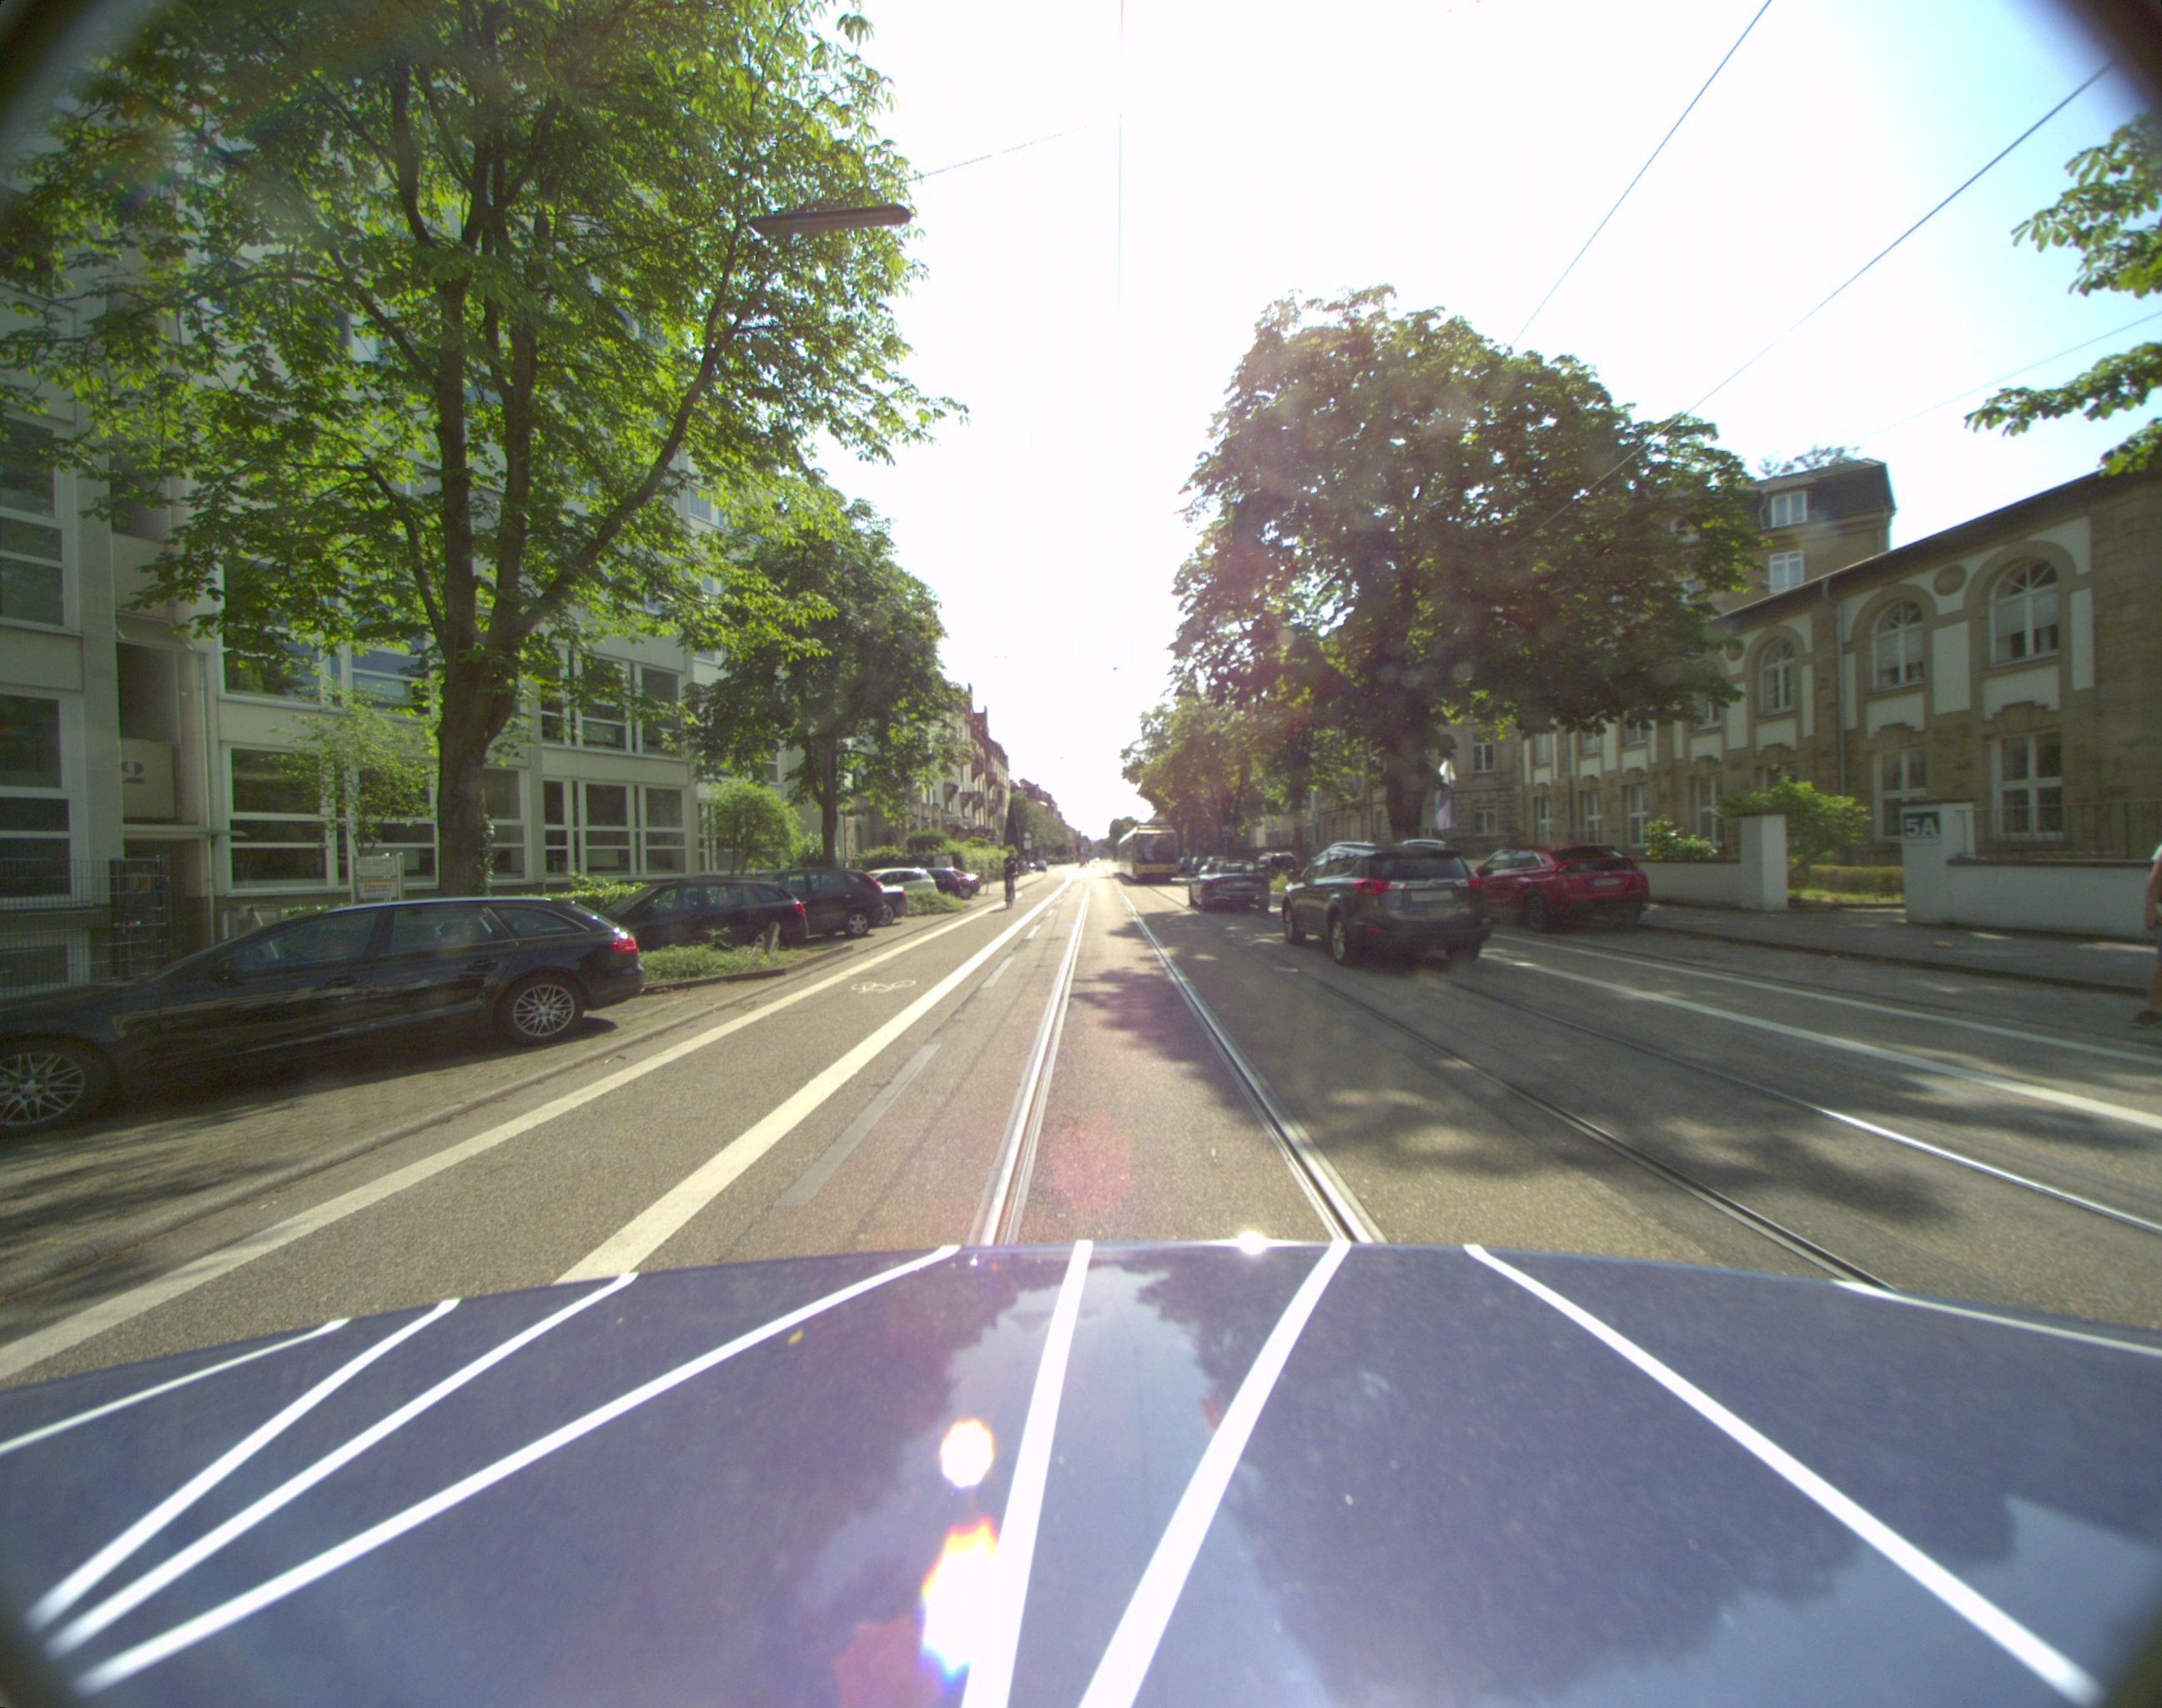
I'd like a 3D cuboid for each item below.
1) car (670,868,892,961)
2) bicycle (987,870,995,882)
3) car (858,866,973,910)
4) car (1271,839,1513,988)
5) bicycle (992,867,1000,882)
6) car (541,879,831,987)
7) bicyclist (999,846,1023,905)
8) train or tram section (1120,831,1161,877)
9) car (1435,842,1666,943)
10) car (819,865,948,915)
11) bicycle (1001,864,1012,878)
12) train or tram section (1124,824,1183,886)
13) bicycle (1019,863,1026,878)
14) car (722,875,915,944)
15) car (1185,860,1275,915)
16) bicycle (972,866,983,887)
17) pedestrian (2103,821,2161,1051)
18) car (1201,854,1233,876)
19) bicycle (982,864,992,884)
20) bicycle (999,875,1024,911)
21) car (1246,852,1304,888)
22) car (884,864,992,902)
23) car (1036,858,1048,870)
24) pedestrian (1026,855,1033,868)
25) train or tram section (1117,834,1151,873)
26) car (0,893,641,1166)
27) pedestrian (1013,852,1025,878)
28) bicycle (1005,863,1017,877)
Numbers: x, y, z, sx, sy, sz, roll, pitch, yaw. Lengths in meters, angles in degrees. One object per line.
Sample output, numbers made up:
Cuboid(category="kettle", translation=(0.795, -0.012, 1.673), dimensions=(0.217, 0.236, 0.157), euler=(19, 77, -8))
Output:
Cuboid(category="car", translation=(-6.428, 1.216, 16.499), dimensions=(4.007, 1.565, 1.900), euler=(-3, 0, -41))
Cuboid(category="bicycle", translation=(-5.670, 1.378, 47.899), dimensions=(0.280, 0.673, 1.559), euler=(2, 1, 1))
Cuboid(category="car", translation=(-6.392, 1.288, 29.545), dimensions=(4.007, 1.440, 1.695), euler=(-2, 0, -41))
Cuboid(category="car", translation=(4.273, 0.711, 11.303), dimensions=(1.830, 1.717, 4.391), euler=(-2, 0, 1))
Cuboid(category="bicycle", translation=(-5.562, 1.349, 49.911), dimensions=(0.274, 0.902, 1.668), euler=(-2, 0, 1))
Cuboid(category="car", translation=(-6.680, 1.245, 13.131), dimensions=(4.084, 1.434, 1.722), euler=(-1, -2, -43))
Cuboid(category="bicyclist", translation=(-2.375, 0.712, 25.948), dimensions=(0.608, 1.937, 1.130), euler=(-3, 1, 1))
Cuboid(category="train or tram section", translation=(4.634, -0.047, 61.112), dimensions=(2.659, 3.369, 11.473), euler=(0, 0, 1))
Cuboid(category="car", translation=(9.263, 0.651, 15.568), dimensions=(1.755, 1.656, 4.720), euler=(-3, 0, 0))
Cuboid(category="car", translation=(-6.739, 1.197, 26.160), dimensions=(4.008, 1.452, 1.531), euler=(-2, 0, -44))
Cuboid(category="bicycle", translation=(-5.386, 1.209, 54.808), dimensions=(0.614, 0.983, 1.872), euler=(1, 1, 1))
Cuboid(category="train or tram section", translation=(4.353, -0.001, 48.363), dimensions=(2.659, 3.336, 14.108), euler=(0, 0, 1))
Cuboid(category="bicycle", translation=(-5.243, 1.469, 68.182), dimensions=(0.452, 1.253, 1.844), euler=(1, 0, -2))
Cuboid(category="car", translation=(-6.615, 1.331, 19.442), dimensions=(4.183, 1.341, 1.900), euler=(-3, 0, -44))
Cuboid(category="car", translation=(4.220, 0.888, 22.185), dimensions=(1.803, 1.380, 4.426), euler=(-1, 0, 1))
Cuboid(category="bicycle", translation=(-5.761, 1.234, 42.468), dimensions=(0.280, 1.102, 2.011), euler=(2, 1, 1))
Cuboid(category="pedestrian", translation=(8.687, 0.623, 5.795), dimensions=(0.790, 1.756, 0.752), euler=(-3, 1, -8))
Cuboid(category="car", translation=(10.207, 0.796, 57.217), dimensions=(1.658, 1.476, 3.808), euler=(-3, 1, 0))
Cuboid(category="bicycle", translation=(-5.707, 1.210, 45.986), dimensions=(0.280, 1.102, 2.011), euler=(2, 1, 1))
Cuboid(category="bicycle", translation=(-2.375, 1.323, 26.210), dimensions=(0.617, 1.039, 1.835), euler=(2, 2, 1))
Cuboid(category="car", translation=(9.846, 0.751, 38.797), dimensions=(1.811, 1.631, 4.331), euler=(-3, 0, 0))
Cuboid(category="car", translation=(-6.109, 1.199, 32.713), dimensions=(4.168, 1.415, 1.861), euler=(-1, 0, -41))
Cuboid(category="car", translation=(-5.245, 1.335, 101.464), dimensions=(1.517, 1.490, 2.794), euler=(1, 0, -1))
Cuboid(category="pedestrian", translation=(-7.513, 1.052, 110.732), dimensions=(0.661, 1.831, 0.873), euler=(7, -1, -7))
Cuboid(category="train or tram section", translation=(4.943, -0.147, 72.914), dimensions=(2.659, 3.417, 12.314), euler=(0, 1, 1))
Cuboid(category="car", translation=(-6.677, 1.250, 6.557), dimensions=(4.544, 1.434, 2.026), euler=(-4, 1, -44))
Cuboid(category="pedestrian", translation=(-4.480, 0.803, 54.764), dimensions=(0.790, 1.850, 0.580), euler=(1, 0, -6))
Cuboid(category="bicycle", translation=(-5.267, 1.215, 57.207), dimensions=(0.612, 0.990, 2.362), euler=(1, 0, 1))
